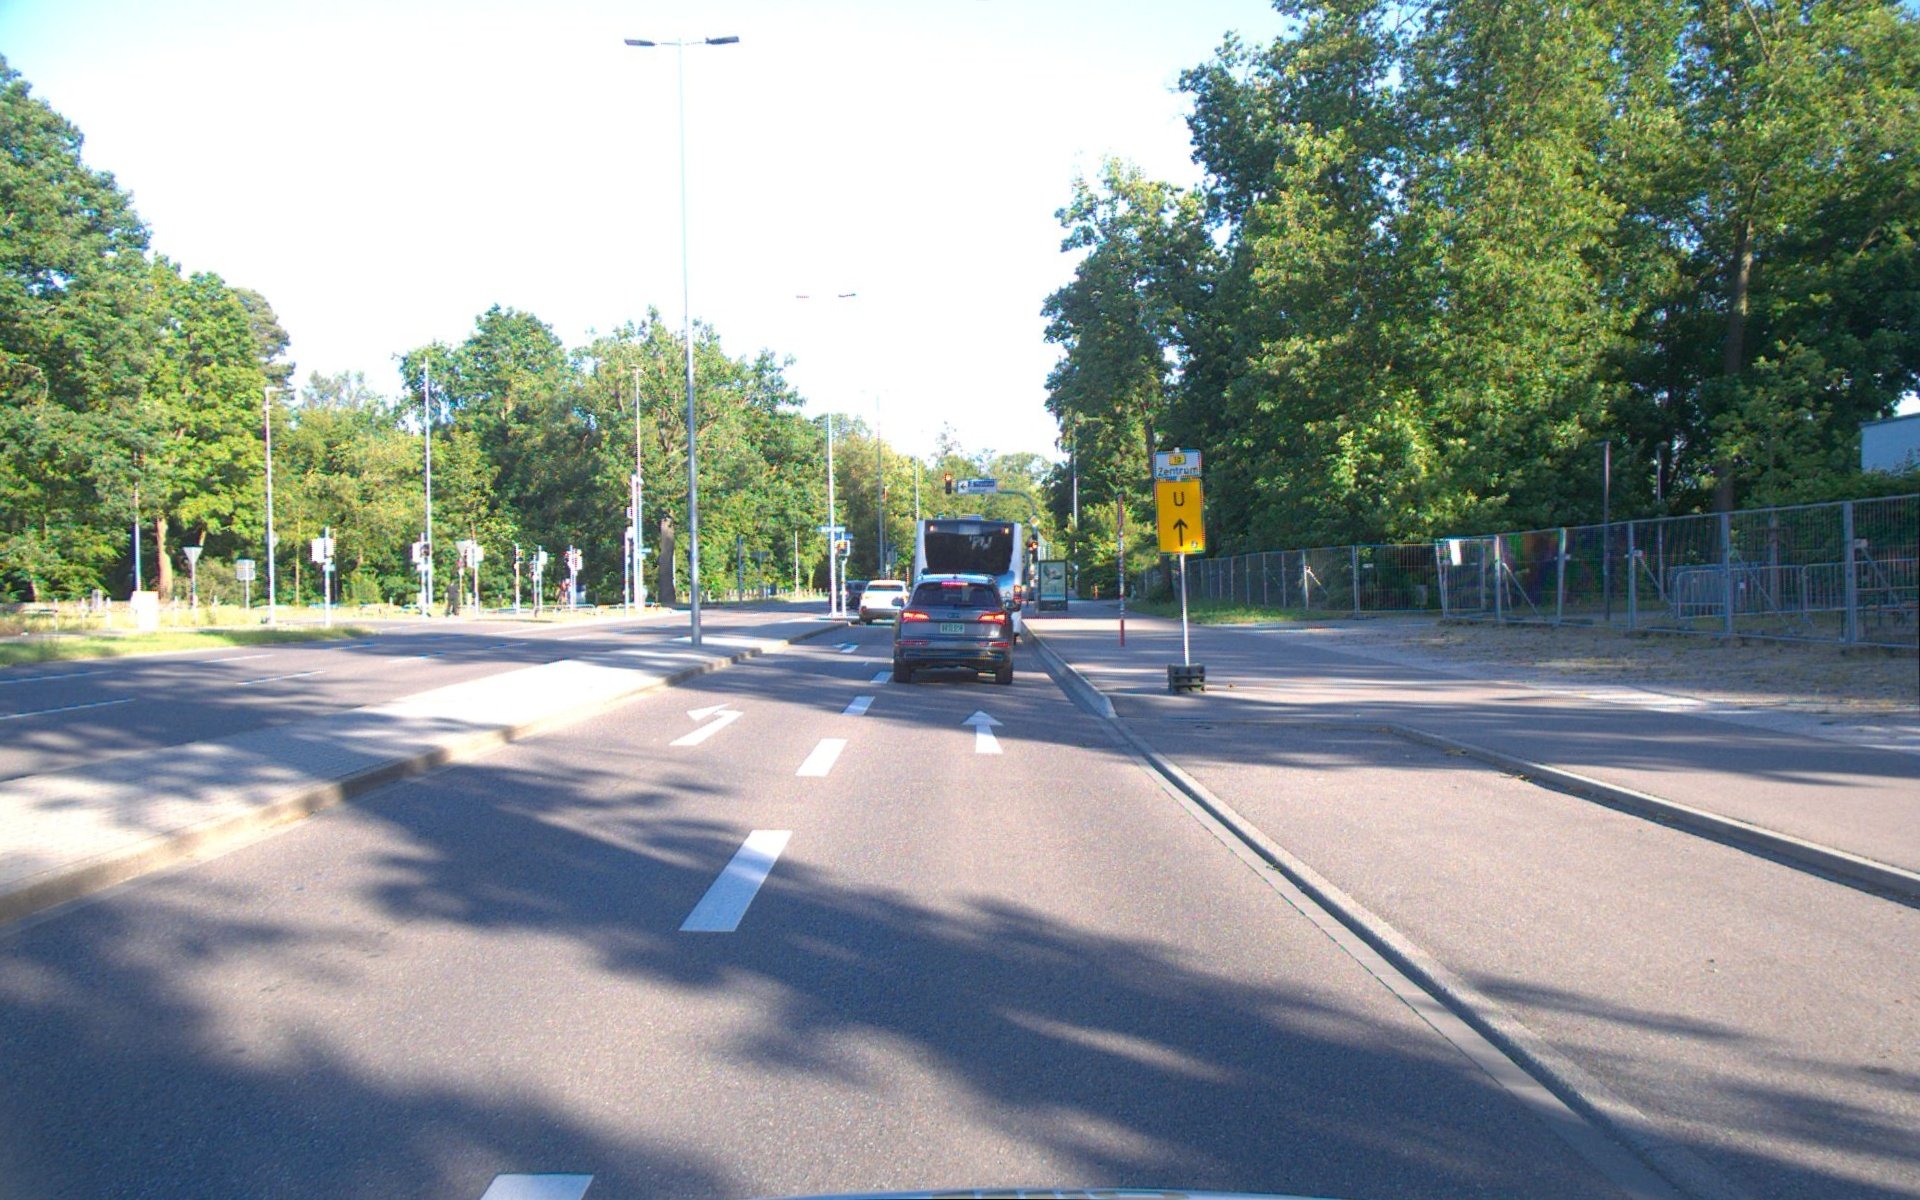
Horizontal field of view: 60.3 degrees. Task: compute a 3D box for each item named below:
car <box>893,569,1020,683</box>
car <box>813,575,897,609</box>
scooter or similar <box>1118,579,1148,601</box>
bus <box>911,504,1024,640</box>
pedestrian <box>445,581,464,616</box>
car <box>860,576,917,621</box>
[{"bbox_3d":[-0.025,0.354,26.458,1.859,1.660,4.000,1,1,1],"label":"car"},{"bbox_3d":[-5.532,-0.411,87.231,3.936,1.668,2.049,-2,1,-25],"label":"car"},{"bbox_3d":[11.608,-0.666,111.003,1.989,1.469,0.601,-2,1,-24],"label":"scooter or similar"},{"bbox_3d":[0.225,-0.644,42.087,2.541,3.041,9.327,1,0,1],"label":"bus"},{"bbox_3d":[-23.031,-0.079,75.341,0.643,1.587,0.531,-2,1,-42],"label":"pedestrian"},{"bbox_3d":[-2.487,-0.079,58.196,1.798,1.545,4.000,0,1,1],"label":"car"}]
